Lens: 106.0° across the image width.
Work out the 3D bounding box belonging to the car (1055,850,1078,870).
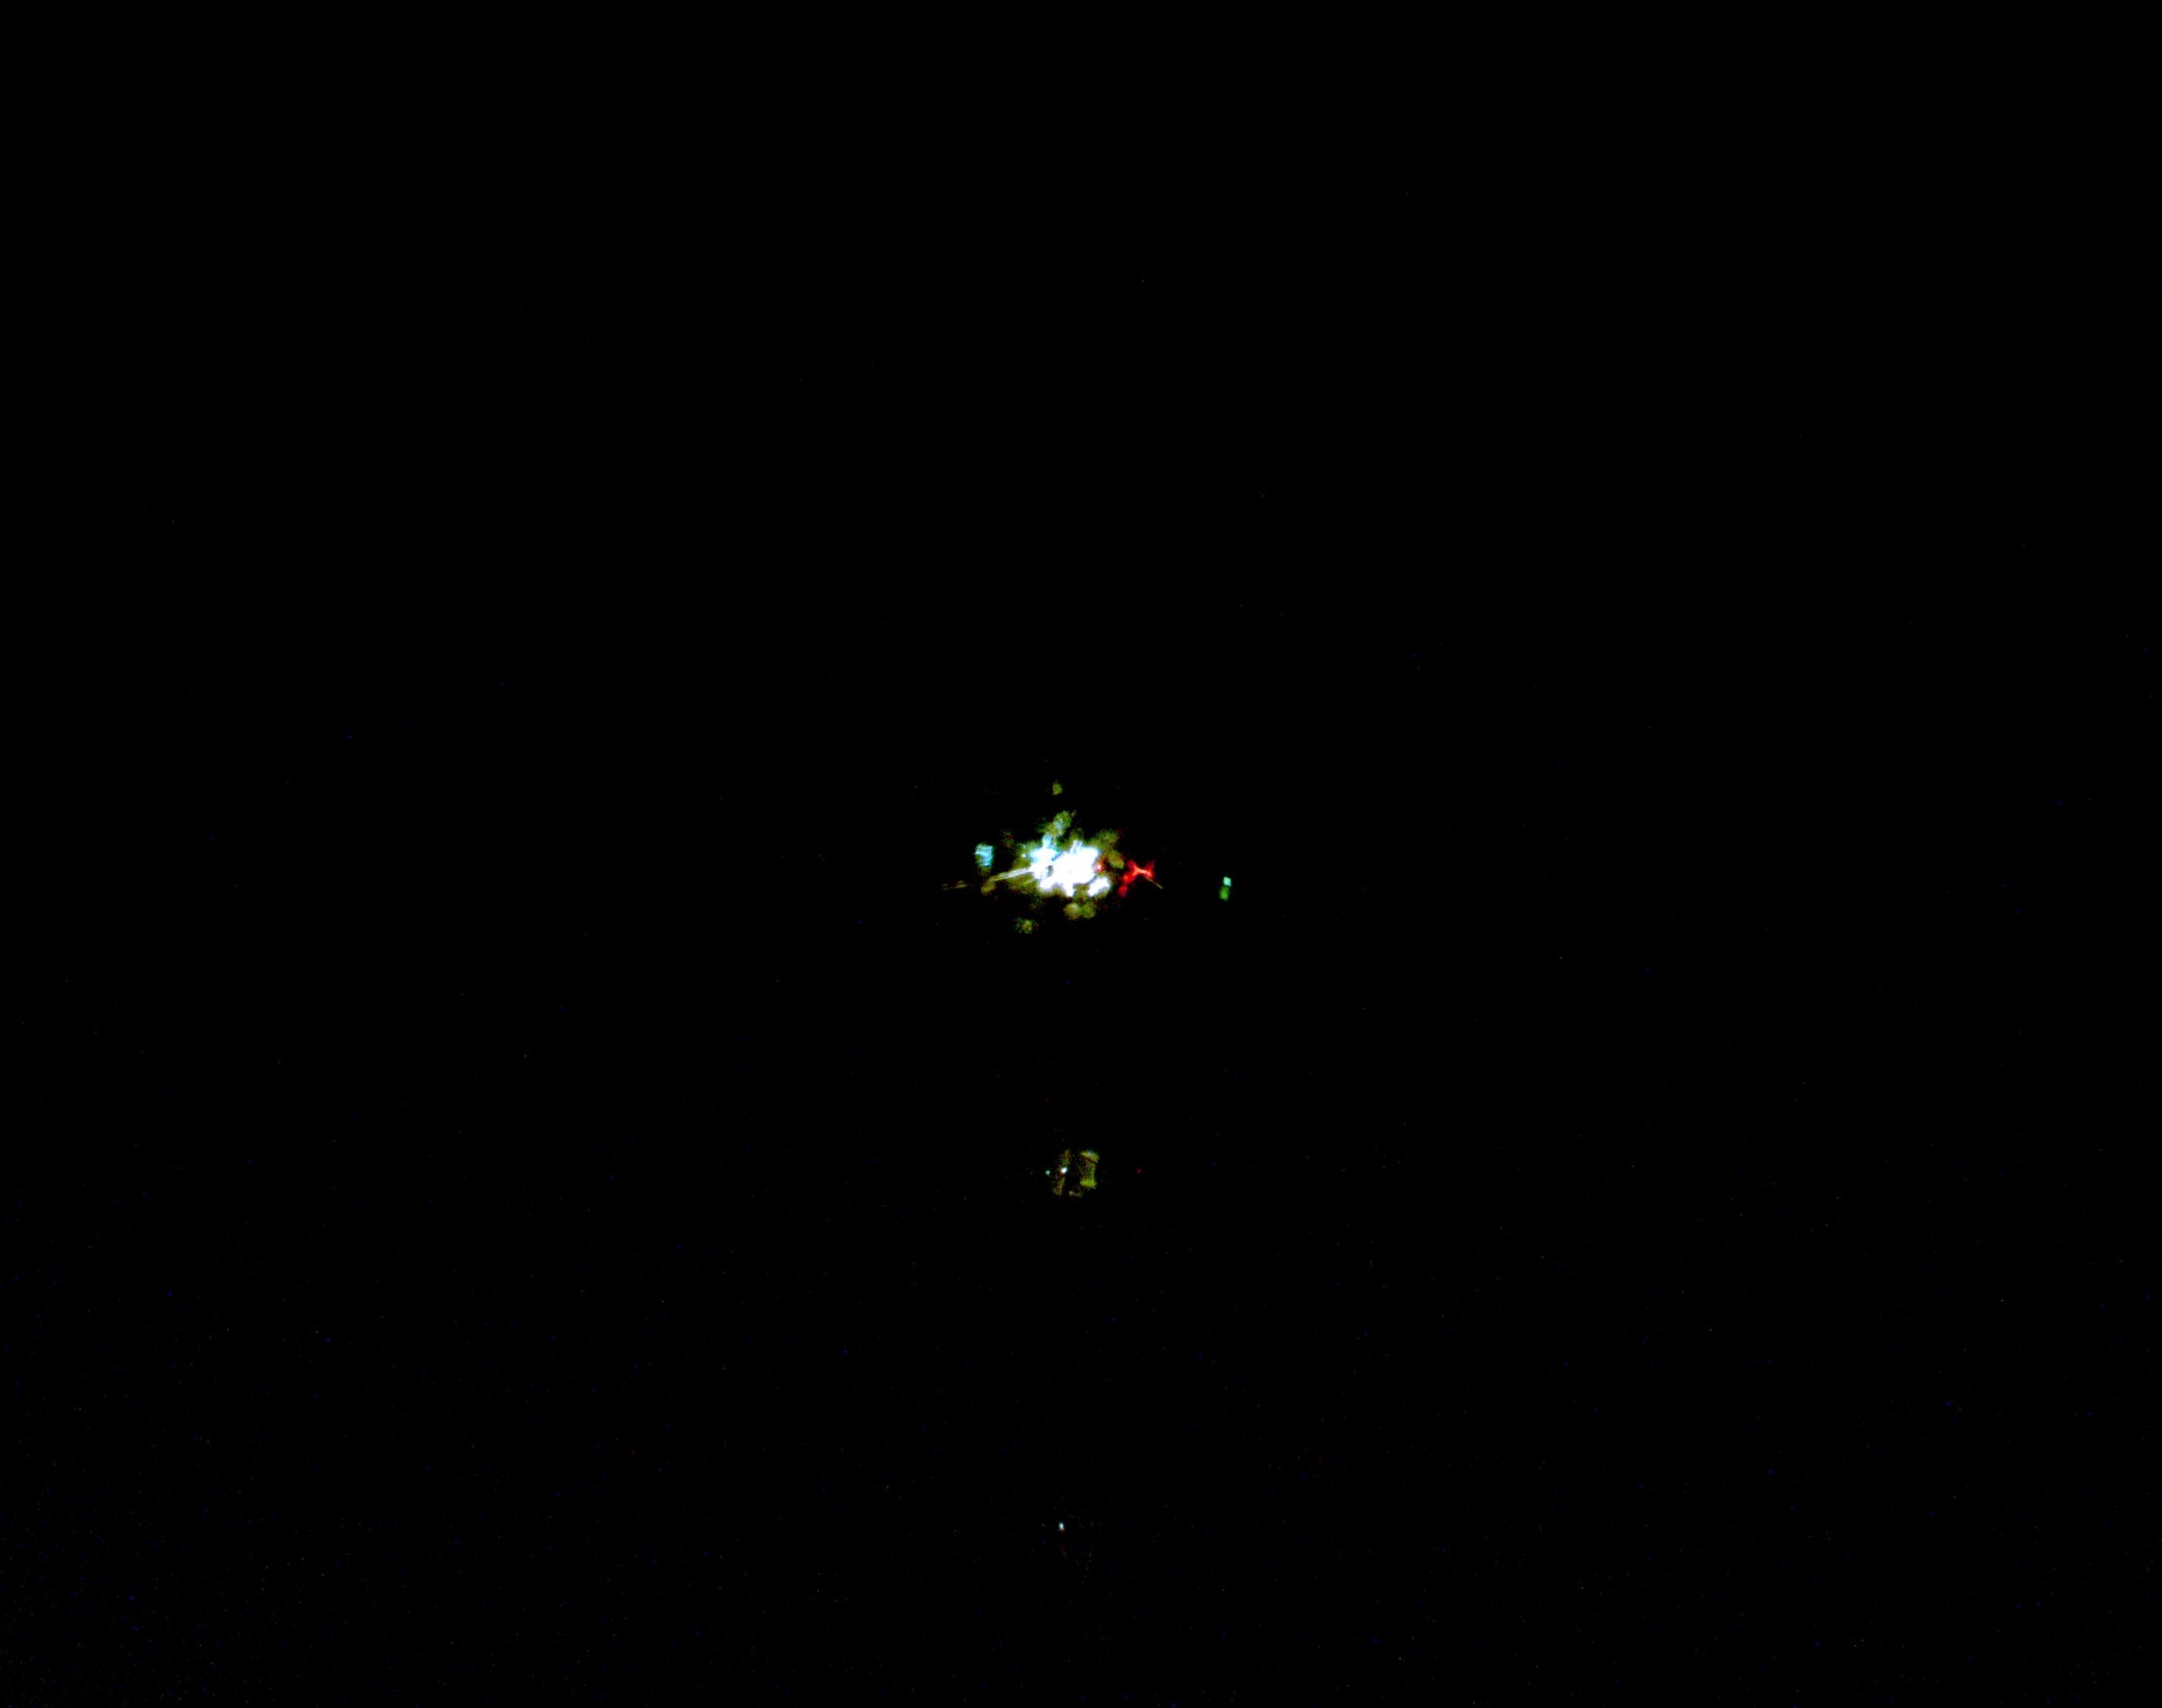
[{"bbox_3d":[-1.296,0.495,71.217,1.632,1.580,3.738,-3,2,-5],"label":"car"}]

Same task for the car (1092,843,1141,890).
[{"bbox_3d":[1.560,0.495,36.698,1.986,1.806,3.919,-3,2,1],"label":"car"}]

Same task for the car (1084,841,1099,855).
[{"bbox_3d":[1.633,-0.940,125.476,1.987,1.781,4.001,-7,2,1],"label":"car"}]
